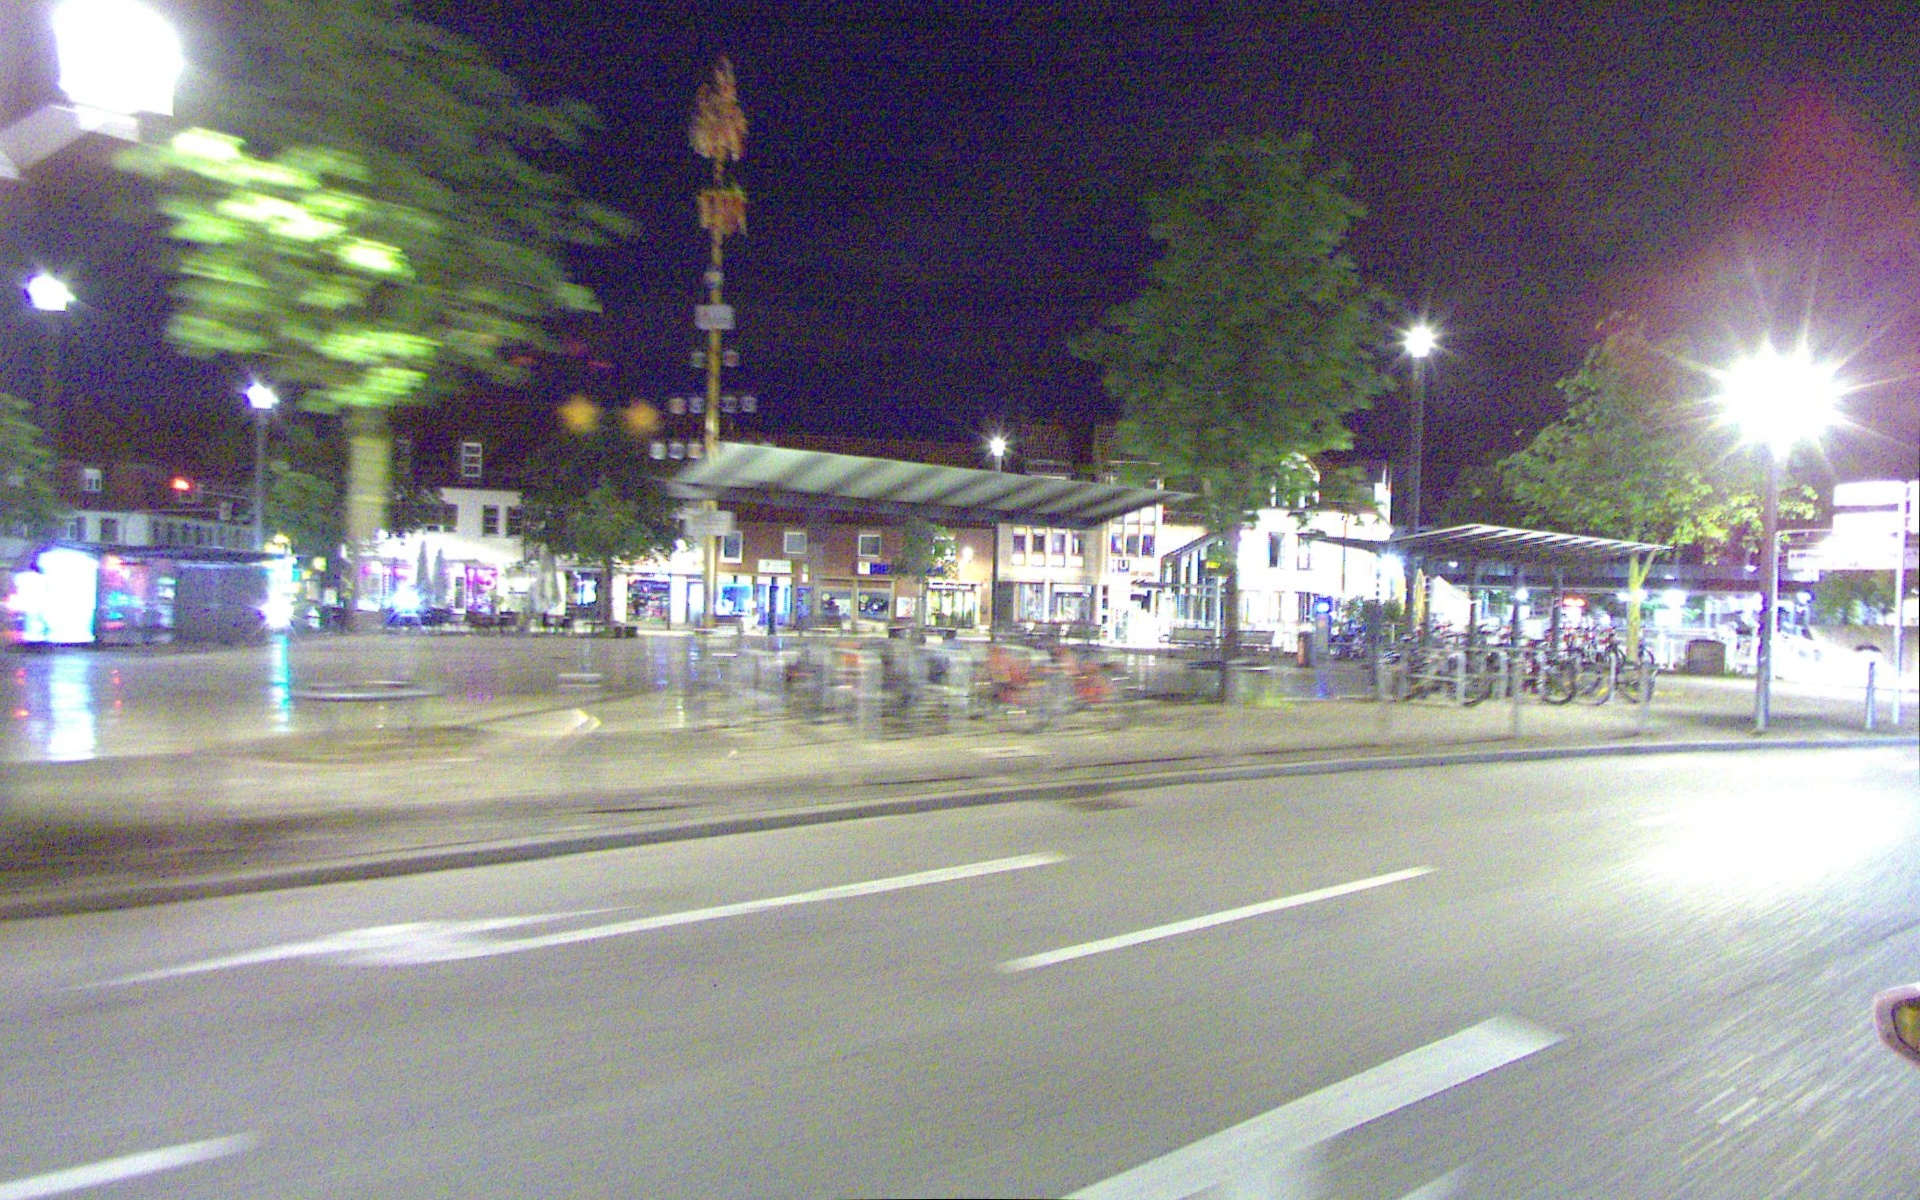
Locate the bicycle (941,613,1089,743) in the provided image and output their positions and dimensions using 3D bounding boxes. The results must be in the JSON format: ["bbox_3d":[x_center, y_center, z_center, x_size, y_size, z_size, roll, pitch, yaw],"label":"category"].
[{"bbox_3d":[0.547,0.789,10.764,0.777,1.173,1.728,2,2,-27],"label":"bicycle"}]

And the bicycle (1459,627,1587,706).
[{"bbox_3d":[8.750,1.012,15.668,0.663,1.120,1.607,2,-1,-32],"label":"bicycle"}]

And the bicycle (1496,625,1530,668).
[{"bbox_3d":[15.059,1.258,27.382,0.597,1.084,1.746,0,0,22],"label":"bicycle"}]

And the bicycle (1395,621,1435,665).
[{"bbox_3d":[13.015,1.211,28.722,0.600,1.181,1.739,0,0,40],"label":"bicycle"}]

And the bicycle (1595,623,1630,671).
[{"bbox_3d":[17.092,1.217,26.350,0.534,1.170,1.745,0,0,25],"label":"bicycle"}]

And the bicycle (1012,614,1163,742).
[{"bbox_3d":[1.354,0.798,11.026,0.777,1.182,1.728,1,3,-27],"label":"bicycle"}]

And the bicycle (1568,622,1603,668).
[{"bbox_3d":[17.061,1.215,27.415,0.597,1.181,1.745,0,0,25],"label":"bicycle"}]

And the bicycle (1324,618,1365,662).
[{"bbox_3d":[11.380,1.163,29.703,0.600,1.235,1.739,0,0,40],"label":"bicycle"}]

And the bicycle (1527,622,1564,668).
[{"bbox_3d":[16.081,1.217,27.588,0.600,1.181,1.738,0,0,40],"label":"bicycle"}]

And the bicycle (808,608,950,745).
[{"bbox_3d":[-0.874,0.730,10.294,0.777,1.173,1.827,2,2,-27],"label":"bicycle"}]

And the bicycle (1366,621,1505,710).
[{"bbox_3d":[6.928,0.924,14.731,0.663,1.179,1.759,1,0,-32],"label":"bicycle"}]

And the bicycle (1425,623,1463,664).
[{"bbox_3d":[13.844,1.224,28.716,0.600,1.115,1.739,0,0,40],"label":"bicycle"}]

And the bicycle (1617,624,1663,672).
[{"bbox_3d":[17.938,1.235,26.523,0.747,1.177,1.745,0,0,25],"label":"bicycle"}]

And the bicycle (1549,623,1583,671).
[{"bbox_3d":[15.939,1.219,26.442,0.597,1.181,1.745,0,0,25],"label":"bicycle"}]

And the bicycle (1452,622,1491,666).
[{"bbox_3d":[14.161,1.210,27.808,0.600,1.140,1.739,0,0,40],"label":"bicycle"}]

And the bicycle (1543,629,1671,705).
[{"bbox_3d":[10.576,1.069,16.469,0.663,1.120,1.607,2,0,-32],"label":"bicycle"}]

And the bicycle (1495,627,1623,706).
[{"bbox_3d":[9.464,1.021,15.930,0.663,1.120,1.607,2,0,-32],"label":"bicycle"}]
